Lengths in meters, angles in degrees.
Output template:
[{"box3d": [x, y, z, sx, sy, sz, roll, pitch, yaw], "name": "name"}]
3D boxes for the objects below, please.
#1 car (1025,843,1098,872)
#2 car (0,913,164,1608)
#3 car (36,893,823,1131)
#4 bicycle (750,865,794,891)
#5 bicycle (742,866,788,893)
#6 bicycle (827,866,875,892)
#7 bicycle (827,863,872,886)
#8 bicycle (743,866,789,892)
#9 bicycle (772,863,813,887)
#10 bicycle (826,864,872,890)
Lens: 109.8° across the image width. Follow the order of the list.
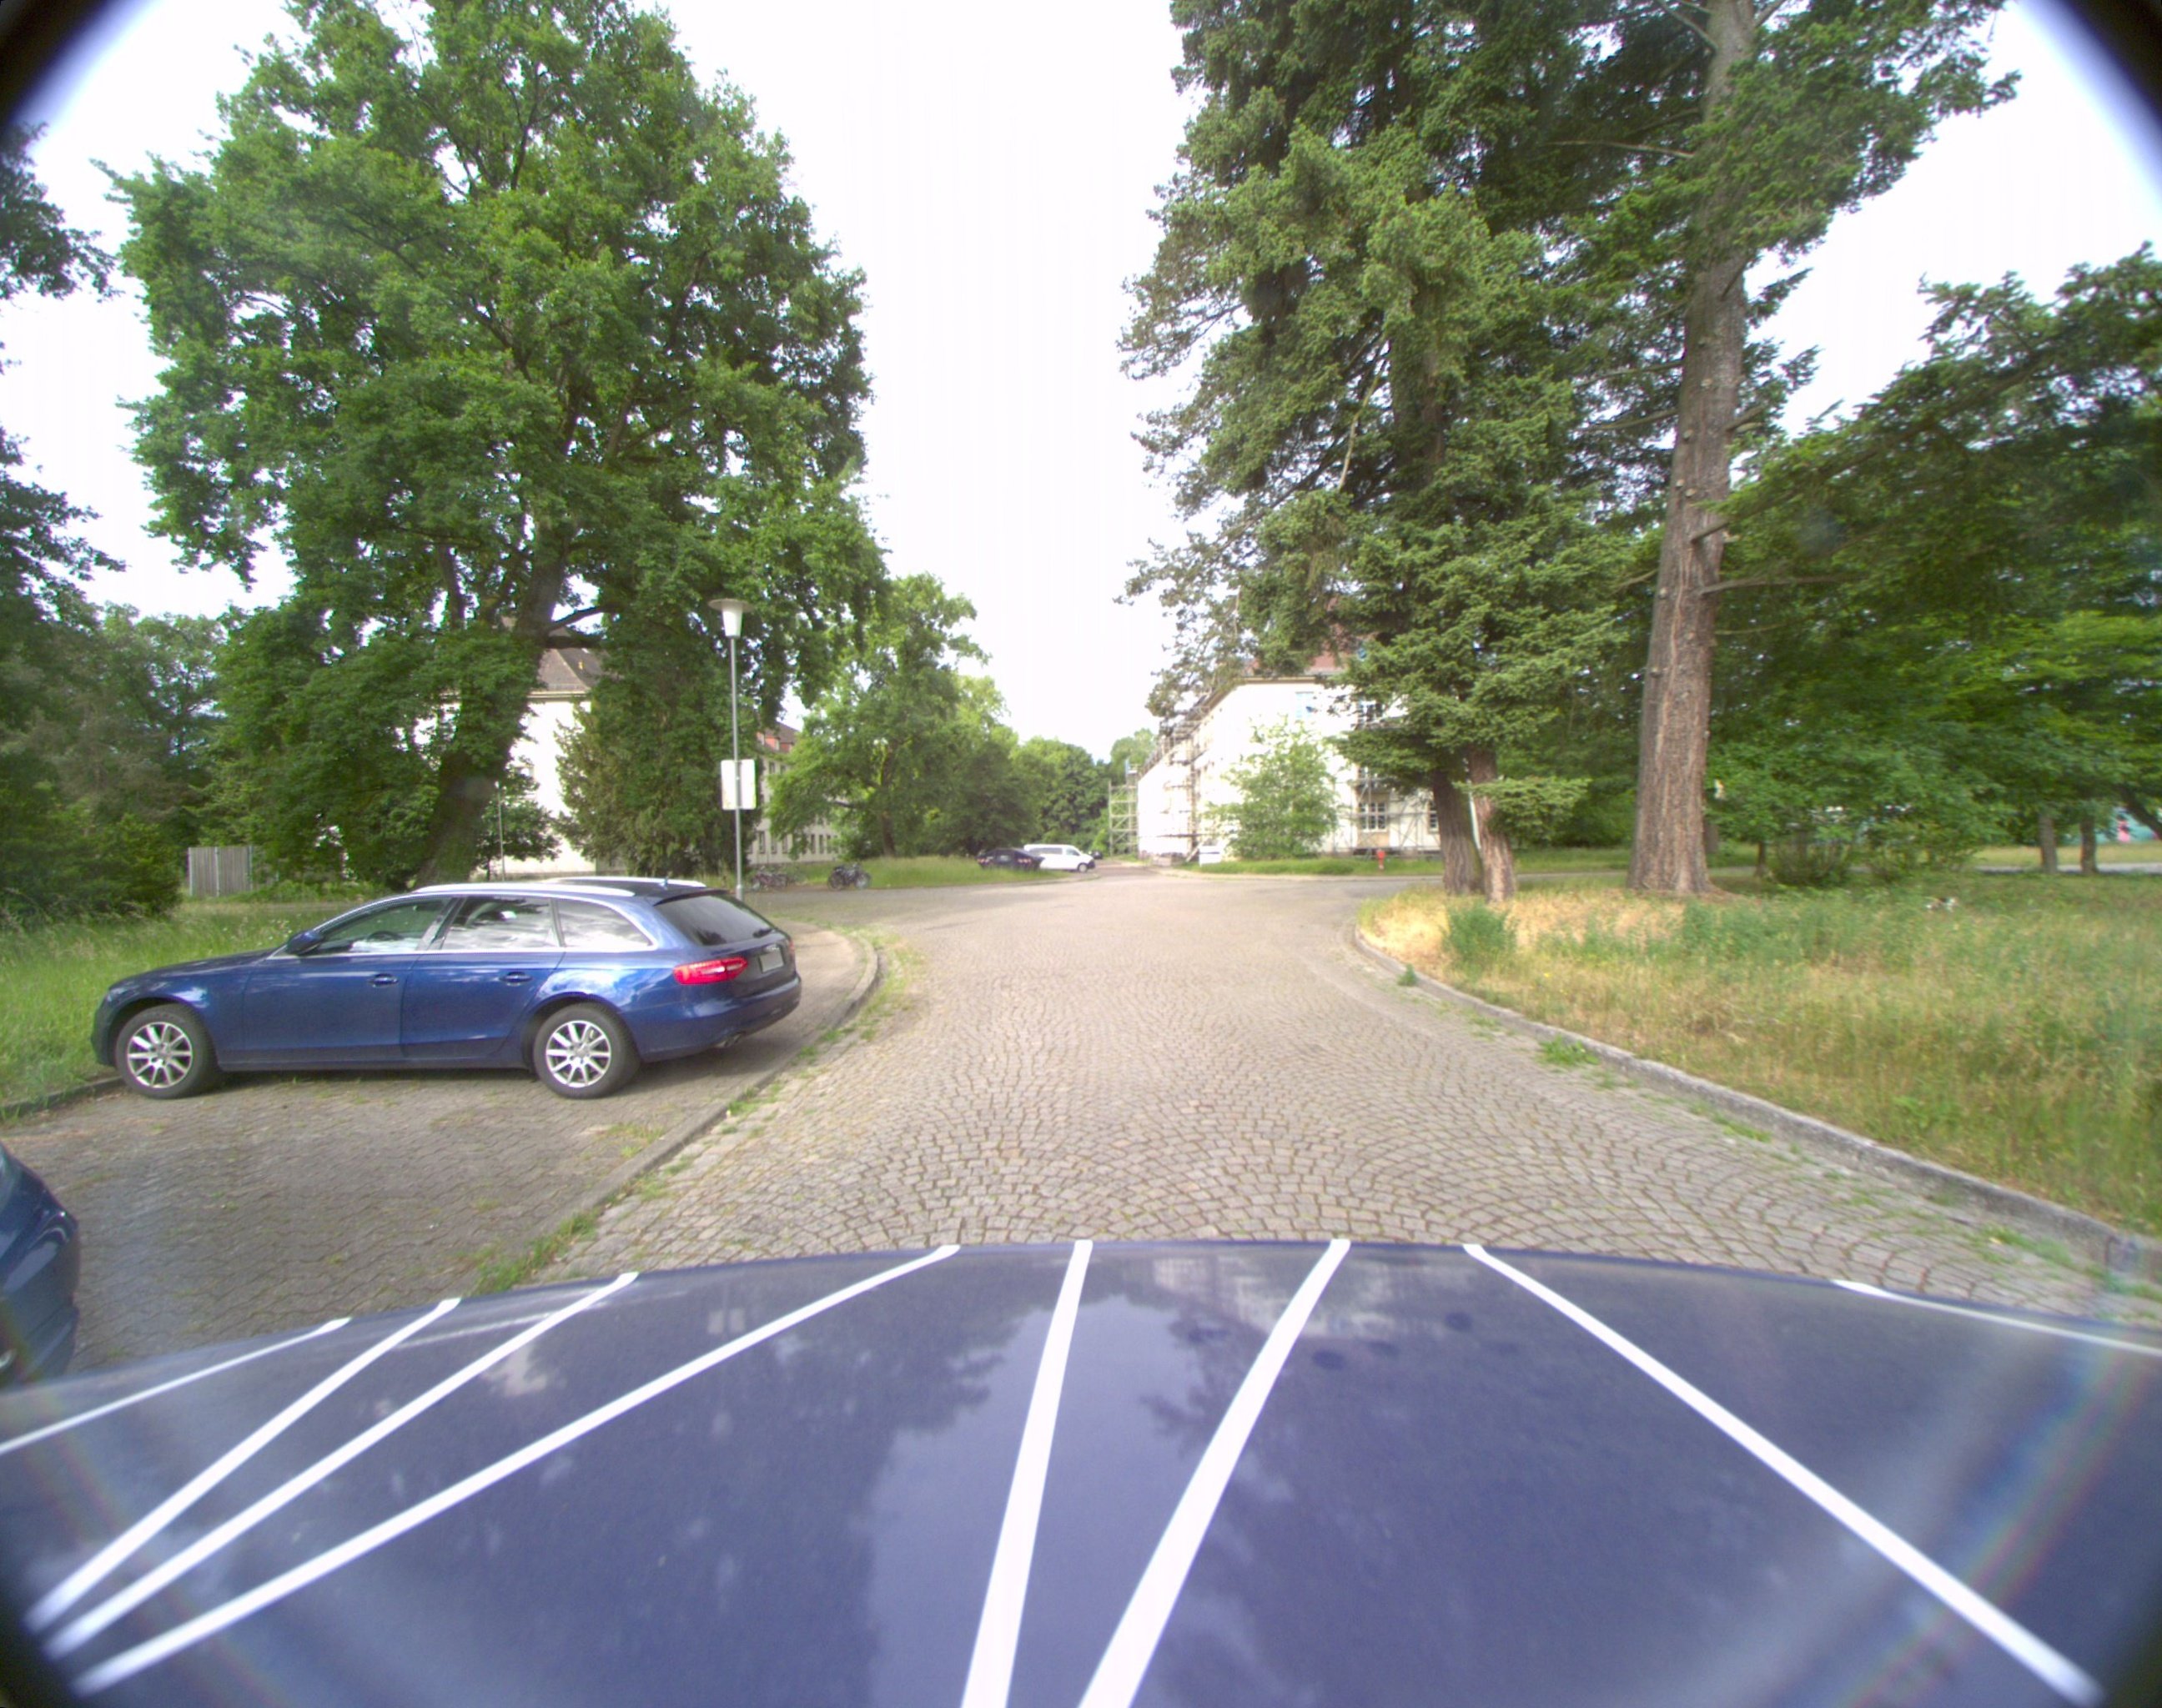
[{"box3d": [-1.421, 0.208, 54.704, 5.101, 2.007, 2.054, 0, 1, -2], "name": "car"}, {"box3d": [-4.564, 1.008, 1.080, 4.173, 1.563, 1.792, -1, 2, -1], "name": "car"}, {"box3d": [-4.520, 1.063, 5.782, 4.480, 1.413, 1.784, 0, 1, 2], "name": "car"}, {"box3d": [-14.882, 1.134, 36.588, 1.860, 1.116, 0.620, -3, 1, -24], "name": "bicycle"}, {"box3d": [-14.268, 1.143, 34.333, 1.860, 1.116, 0.620, -3, 1, -24], "name": "bicycle"}, {"box3d": [-10.354, 1.102, 34.203, 1.976, 1.070, 0.587, -3, 1, -29], "name": "bicycle"}, {"box3d": [-11.535, 1.013, 37.859, 2.032, 1.070, 0.620, -3, 1, -24], "name": "bicycle"}, {"box3d": [-14.484, 1.142, 34.938, 1.860, 1.116, 0.620, -3, 1, -24], "name": "bicycle"}, {"box3d": [-14.730, 1.085, 38.811, 1.860, 1.116, 0.620, -3, 1, -24], "name": "bicycle"}, {"box3d": [-10.907, 1.066, 35.770, 1.976, 1.070, 0.587, -3, 1, -29], "name": "bicycle"}]
